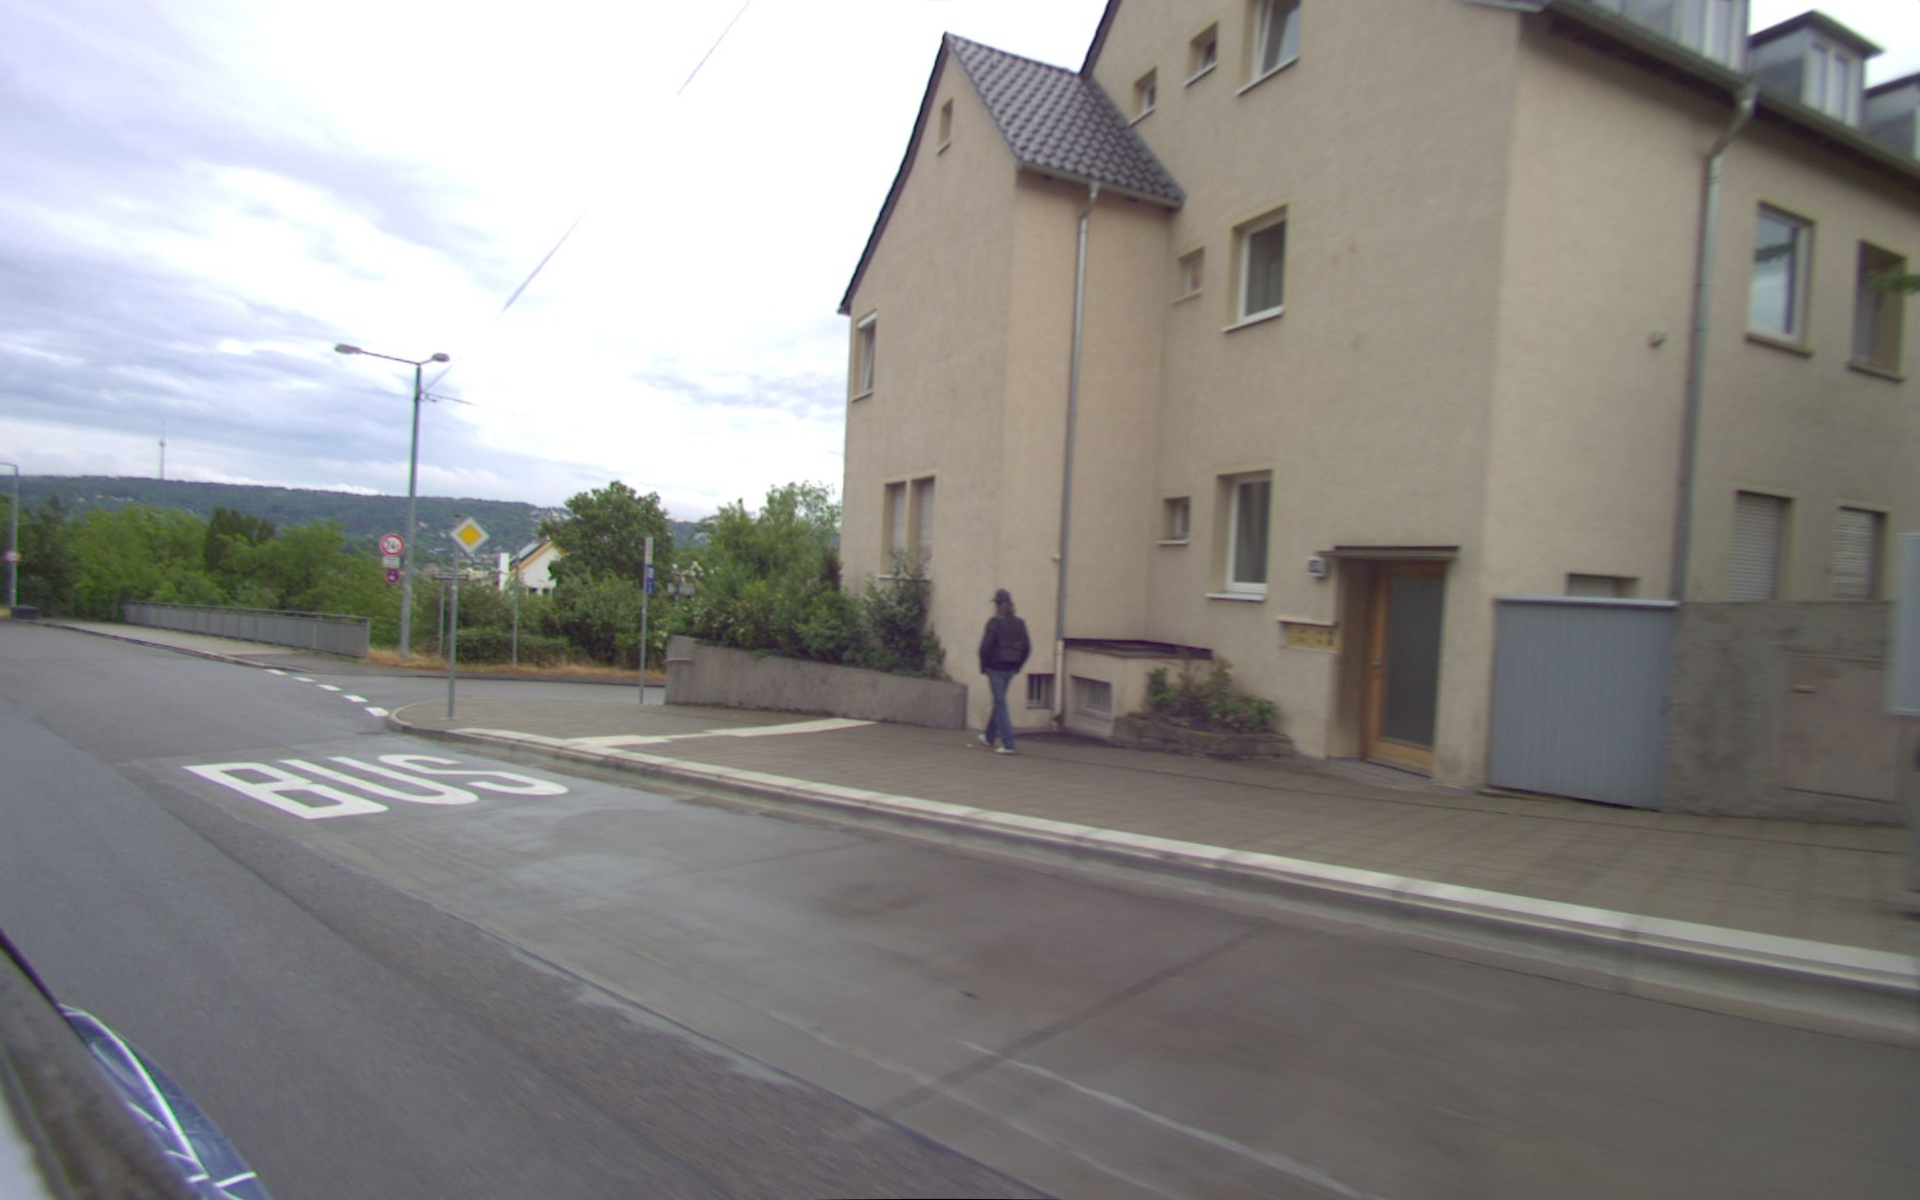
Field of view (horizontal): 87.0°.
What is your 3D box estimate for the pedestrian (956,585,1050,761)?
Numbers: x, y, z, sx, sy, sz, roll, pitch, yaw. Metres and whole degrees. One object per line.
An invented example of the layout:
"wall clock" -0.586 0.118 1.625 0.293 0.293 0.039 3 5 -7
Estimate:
"pedestrian" 0.485 0.778 11.333 0.728 1.871 0.778 0 0 42
